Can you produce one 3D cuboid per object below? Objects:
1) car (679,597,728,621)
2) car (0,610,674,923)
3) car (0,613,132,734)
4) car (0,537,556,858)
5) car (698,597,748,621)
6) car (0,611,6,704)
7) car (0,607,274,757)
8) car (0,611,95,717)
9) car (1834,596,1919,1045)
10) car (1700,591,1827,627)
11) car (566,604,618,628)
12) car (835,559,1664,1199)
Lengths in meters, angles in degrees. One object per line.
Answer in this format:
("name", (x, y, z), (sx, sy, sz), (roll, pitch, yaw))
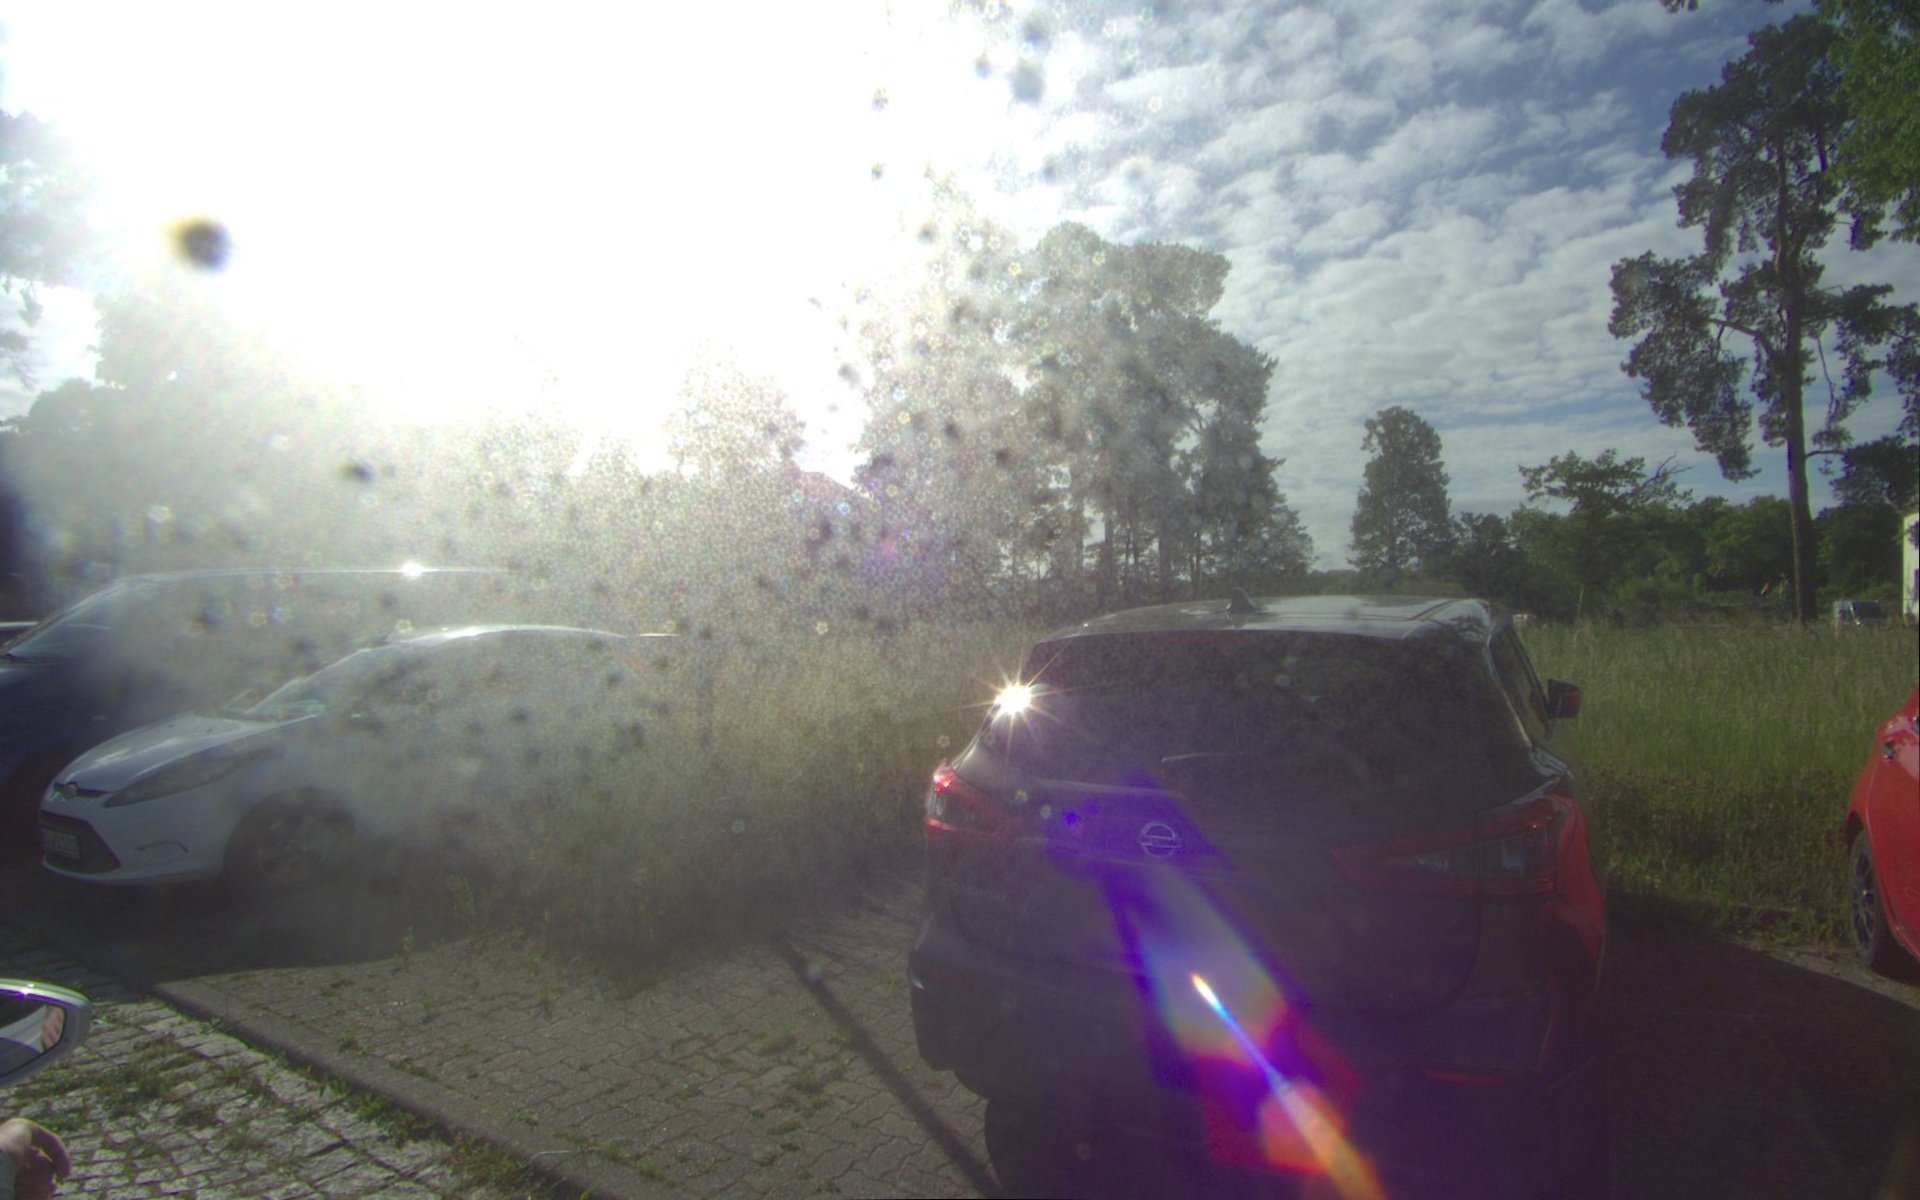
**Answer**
("car", (-22.350, 0.795, 87.352), (1.971, 2.040, 3.979), (0, 0, 32))
("car", (-3.963, 0.849, 6.987), (1.621, 1.508, 3.714), (0, 0, 30))
("car", (-12.974, 0.944, 12.549), (1.621, 1.487, 3.668), (0, 0, 31))
("car", (-6.083, 0.641, 8.537), (2.052, 2.040, 4.672), (0, 0, 29))
("car", (-20.394, 0.790, 86.415), (1.971, 2.040, 3.979), (0, 0, 32))
("car", (-17.540, 0.950, 15.679), (1.621, 1.549, 3.473), (0, 0, 31))
("car", (-10.300, 0.880, 11.458), (1.622, 1.485, 3.685), (0, 1, 33))
("car", (-15.100, 0.937, 14.577), (1.621, 1.549, 3.473), (0, 0, 31))
("car", (3.762, 0.754, 2.639), (1.622, 1.550, 3.755), (0, 0, 32))
("car", (52.125, 0.629, 65.126), (2.339, 2.199, 5.993), (0, -2, -25))
("car", (-32.625, 1.396, 88.891), (1.971, 2.040, 3.979), (0, 0, 32))
("car", (1.420, 0.773, 3.813), (1.746, 1.643, 3.930), (0, 0, 31))
